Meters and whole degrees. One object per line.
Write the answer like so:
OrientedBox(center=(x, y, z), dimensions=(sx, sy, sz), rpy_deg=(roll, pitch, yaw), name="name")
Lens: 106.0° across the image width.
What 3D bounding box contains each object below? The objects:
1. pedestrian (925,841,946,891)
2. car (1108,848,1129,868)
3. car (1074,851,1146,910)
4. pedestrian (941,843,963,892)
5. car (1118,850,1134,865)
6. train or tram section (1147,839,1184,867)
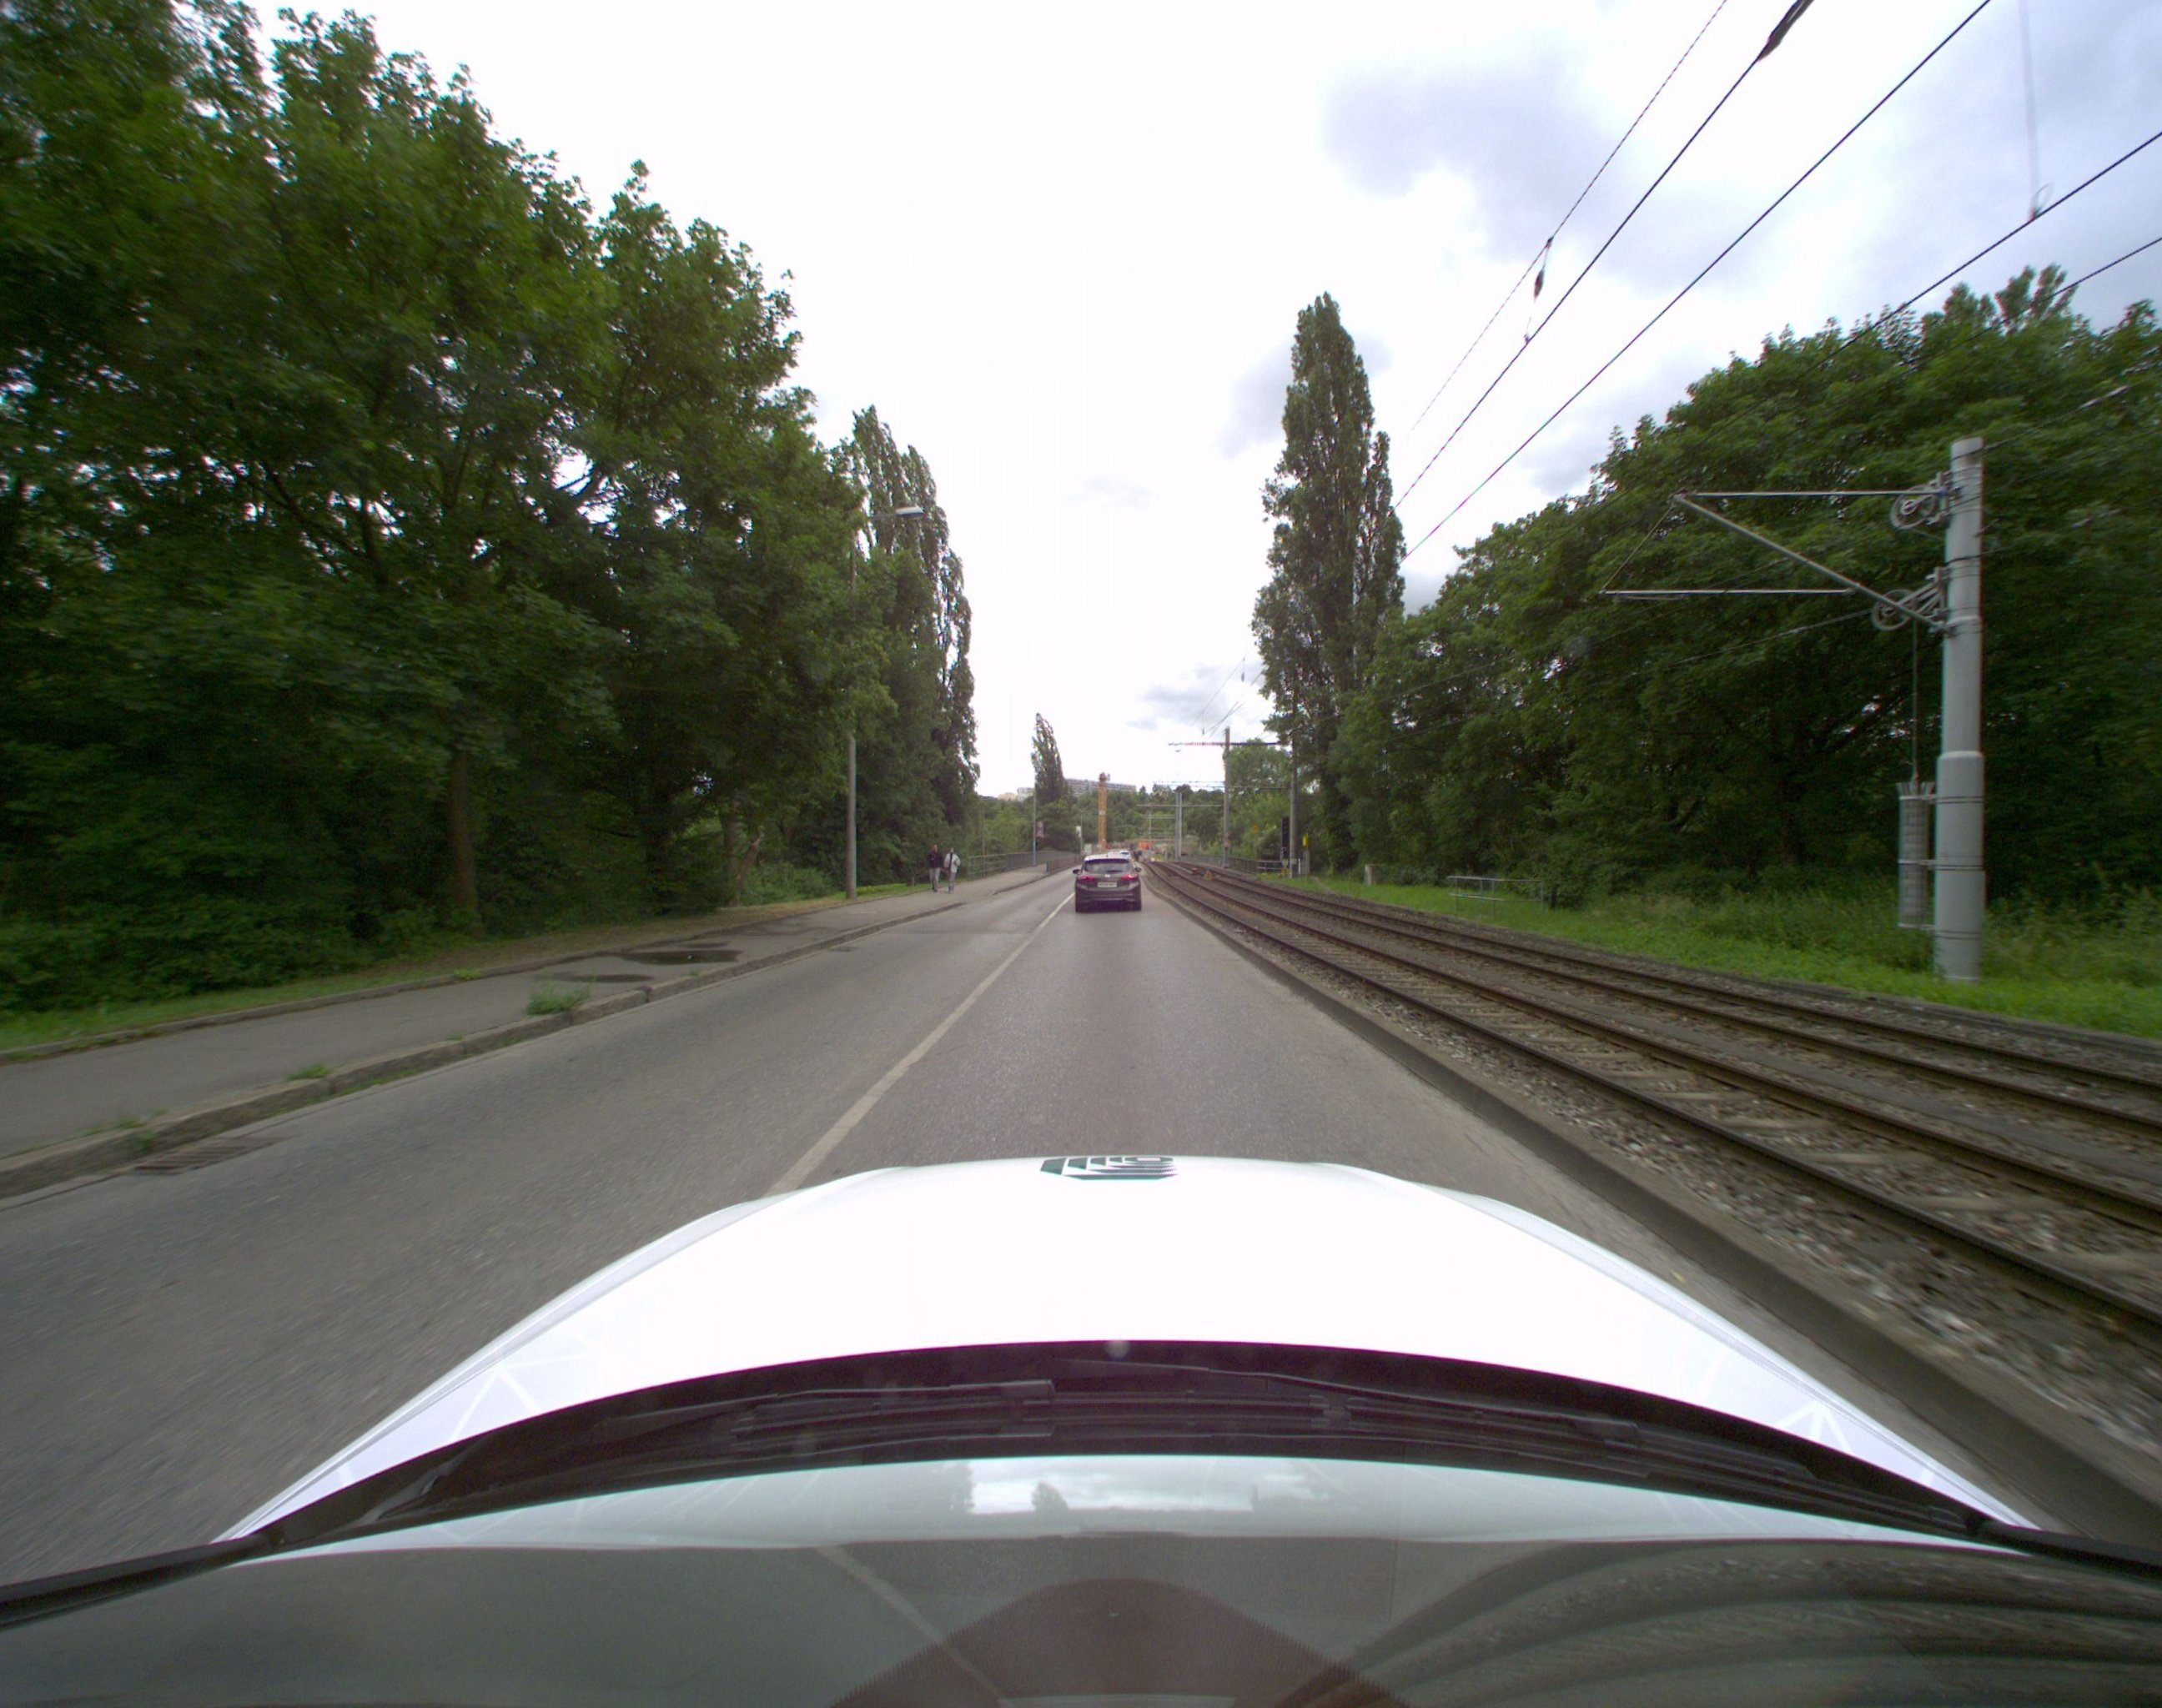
OrientedBox(center=(-5.441, 0.441, 30.448), dimensions=(0.585, 1.803, 0.823), rpy_deg=(2, 0, 2), name="pedestrian")
OrientedBox(center=(3.125, 0.344, 68.823), dimensions=(1.674, 1.606, 4.310), rpy_deg=(2, 0, 1), name="car")
OrientedBox(center=(0.744, 0.685, 22.881), dimensions=(1.824, 1.510, 3.999), rpy_deg=(0, 0, 0), name="car")
OrientedBox(center=(-4.806, 0.496, 30.467), dimensions=(0.549, 1.765, 0.858), rpy_deg=(4, 0, 2), name="pedestrian")
OrientedBox(center=(4.972, 0.343, 90.365), dimensions=(1.673, 1.606, 4.313), rpy_deg=(1, 1, 3), name="car")
OrientedBox(center=(17.786, 0.030, 174.524), dimensions=(3.024, 5.183, 23.001), rpy_deg=(2, -2, -6), name="train or tram section")
